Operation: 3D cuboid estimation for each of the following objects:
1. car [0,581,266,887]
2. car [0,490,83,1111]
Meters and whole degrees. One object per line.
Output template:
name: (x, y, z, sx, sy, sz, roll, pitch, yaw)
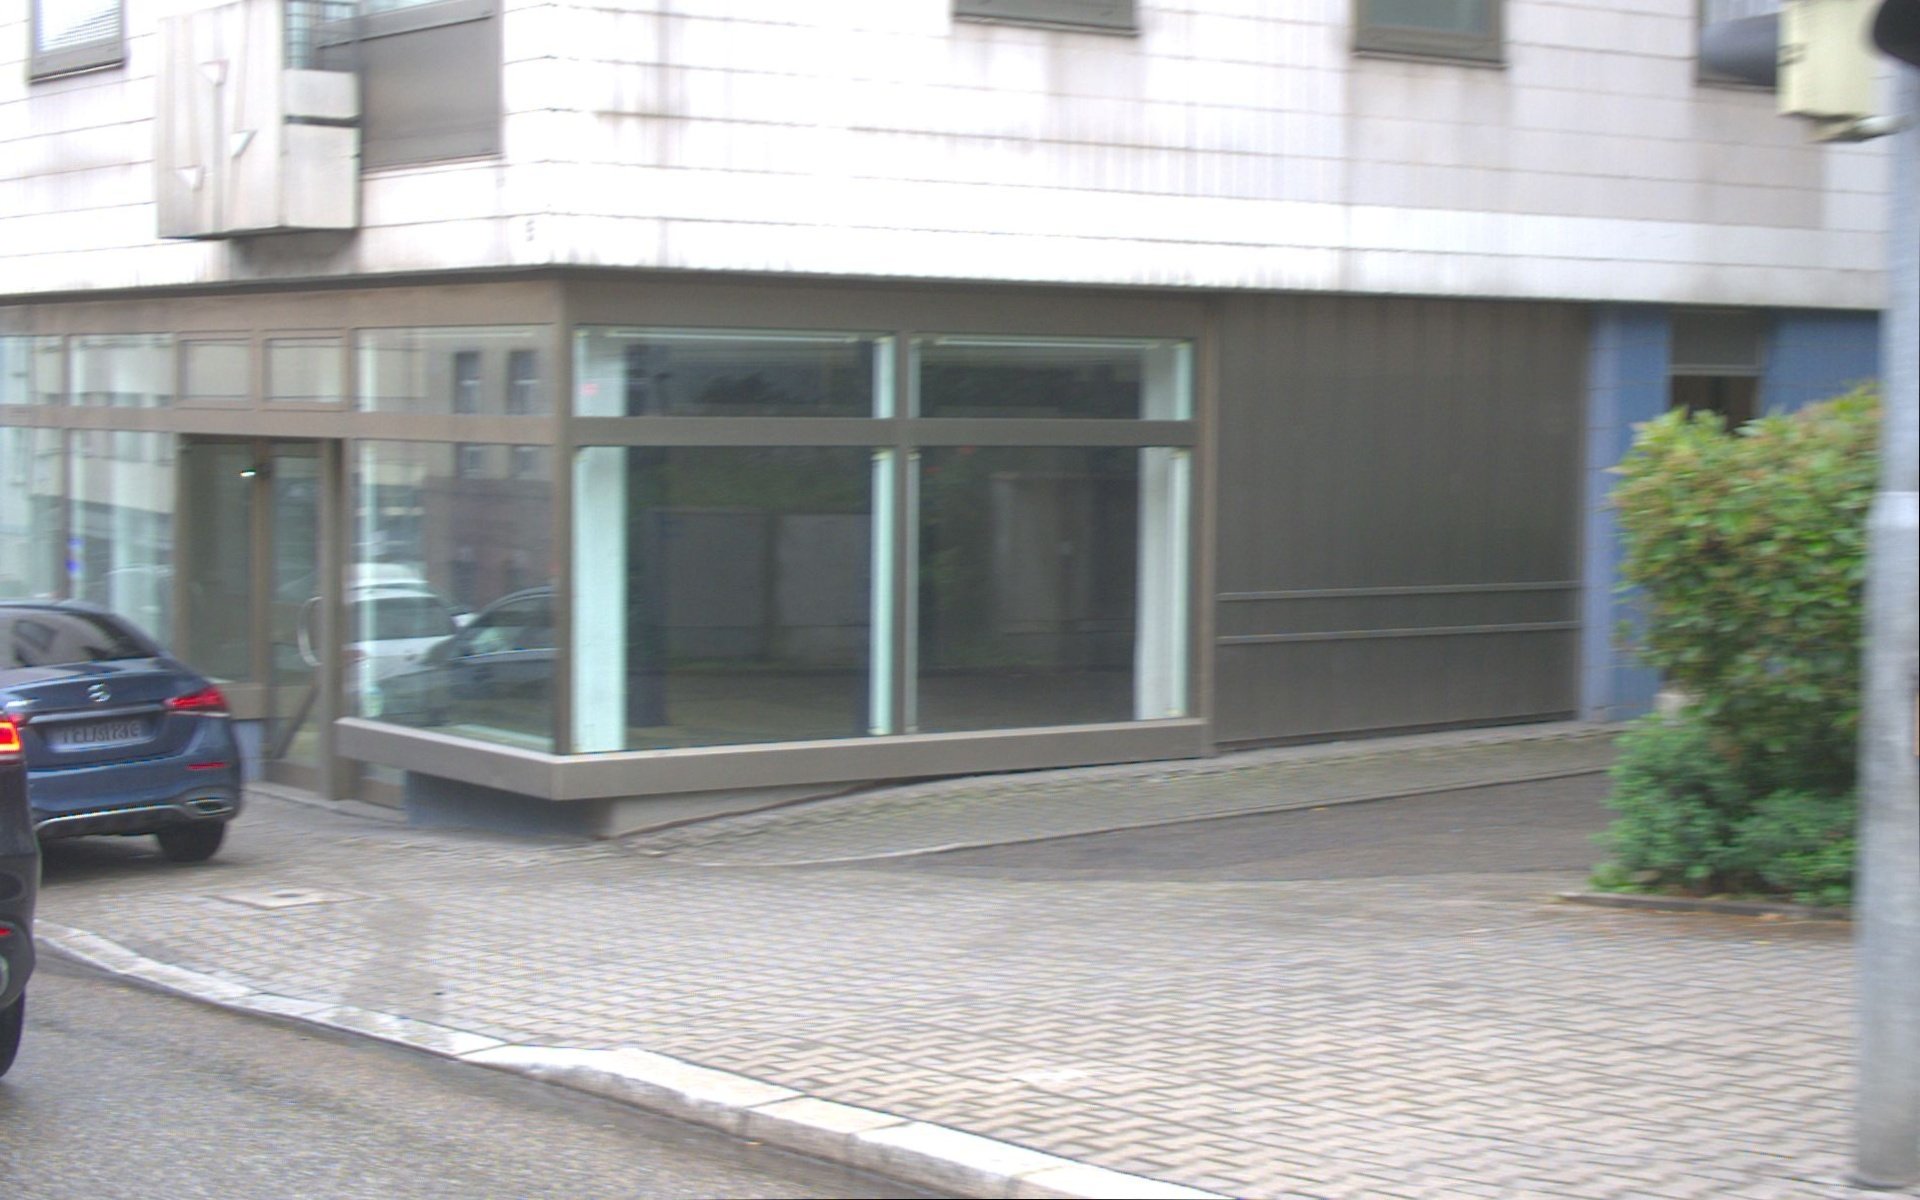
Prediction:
car: (-5.494, 0.671, 18.523, 1.764, 1.387, 4.378, -5, 2, -35)
car: (-4.566, 0.605, 11.244, 2.020, 1.733, 4.747, -1, 0, -30)
